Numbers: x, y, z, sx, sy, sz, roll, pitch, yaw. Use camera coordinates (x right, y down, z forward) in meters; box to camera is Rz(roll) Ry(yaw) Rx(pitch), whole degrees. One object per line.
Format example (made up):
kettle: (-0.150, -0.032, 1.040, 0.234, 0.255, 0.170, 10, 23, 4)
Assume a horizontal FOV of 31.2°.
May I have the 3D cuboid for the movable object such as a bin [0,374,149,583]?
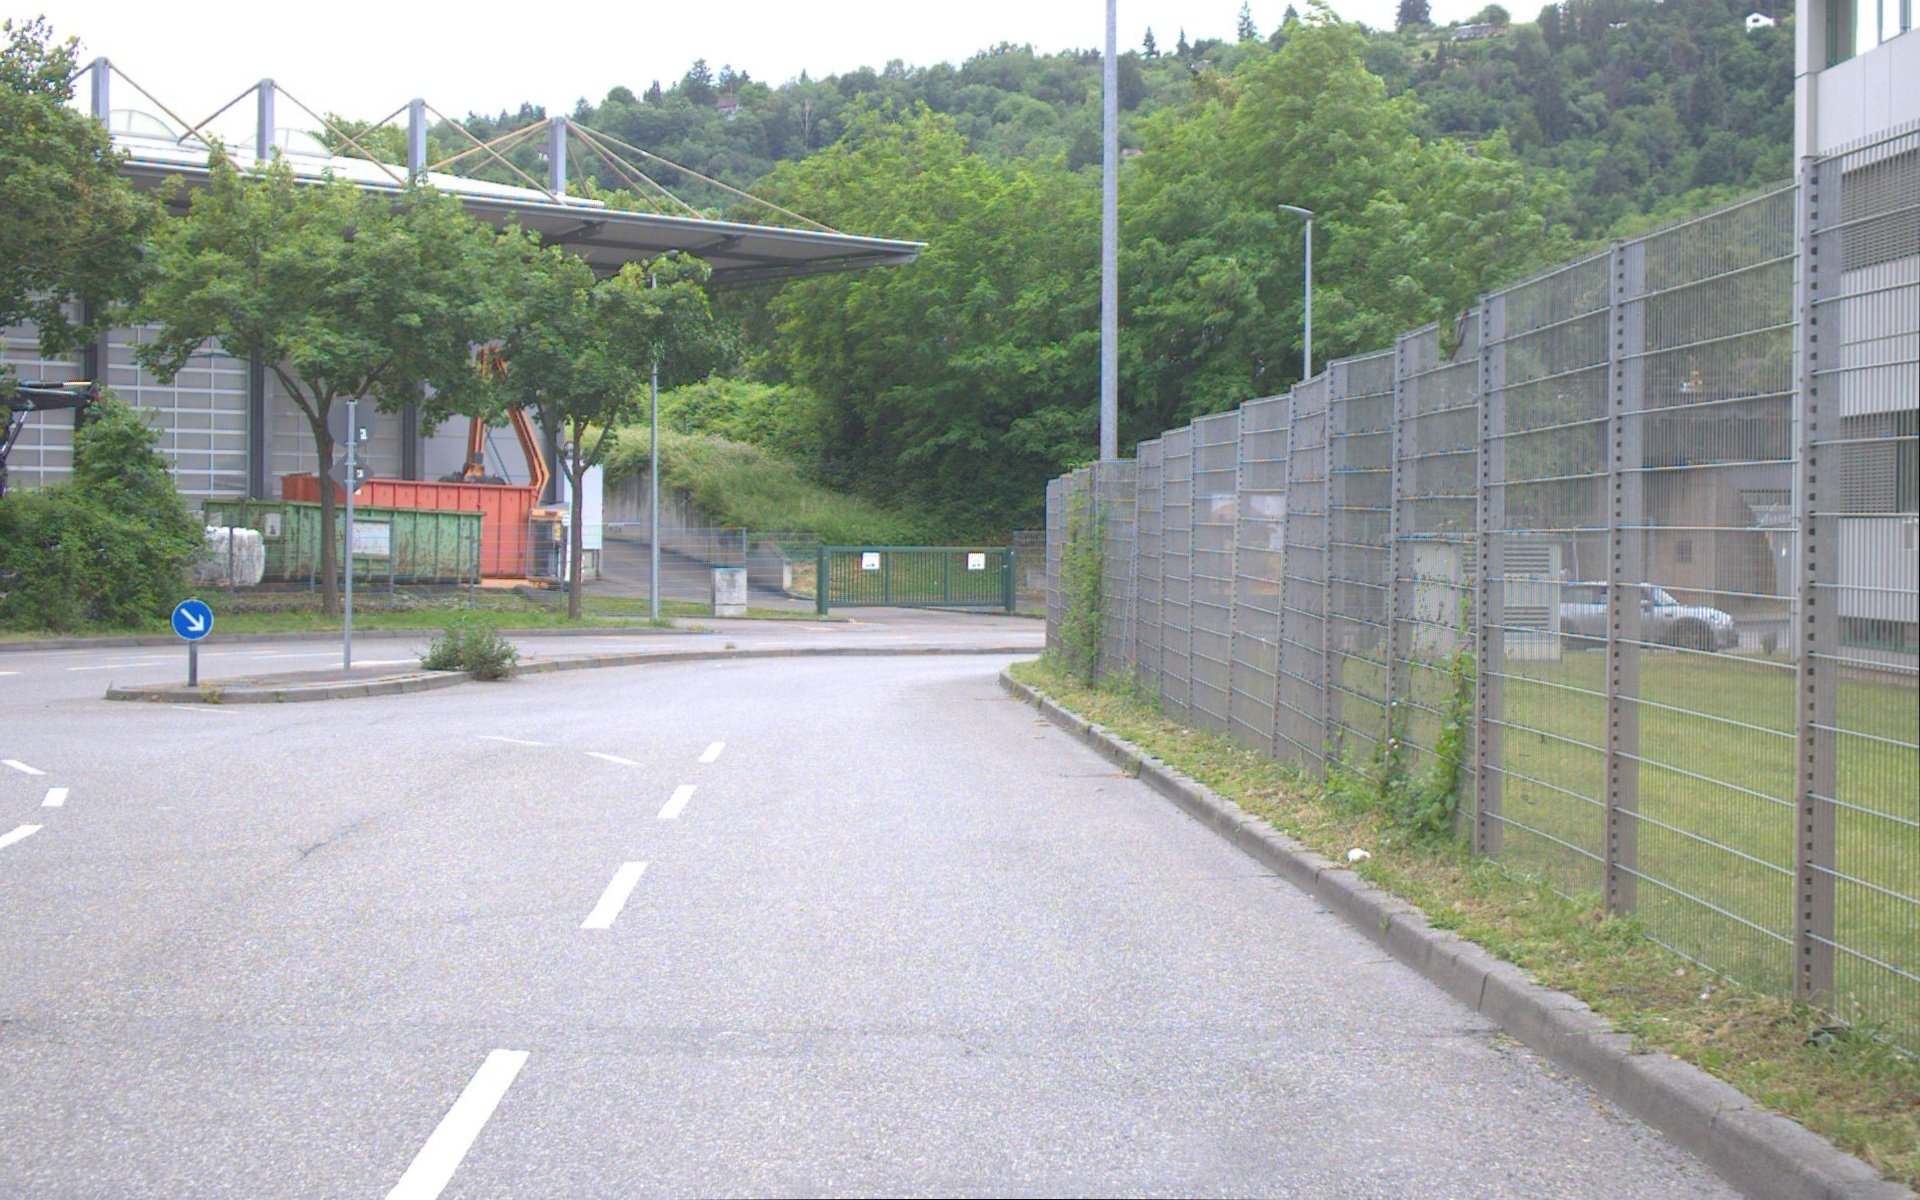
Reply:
movable object such as a bin: (-19.525, -2.399, 68.430, 2.730, 4.077, 6.540, 1, 1, 32)
